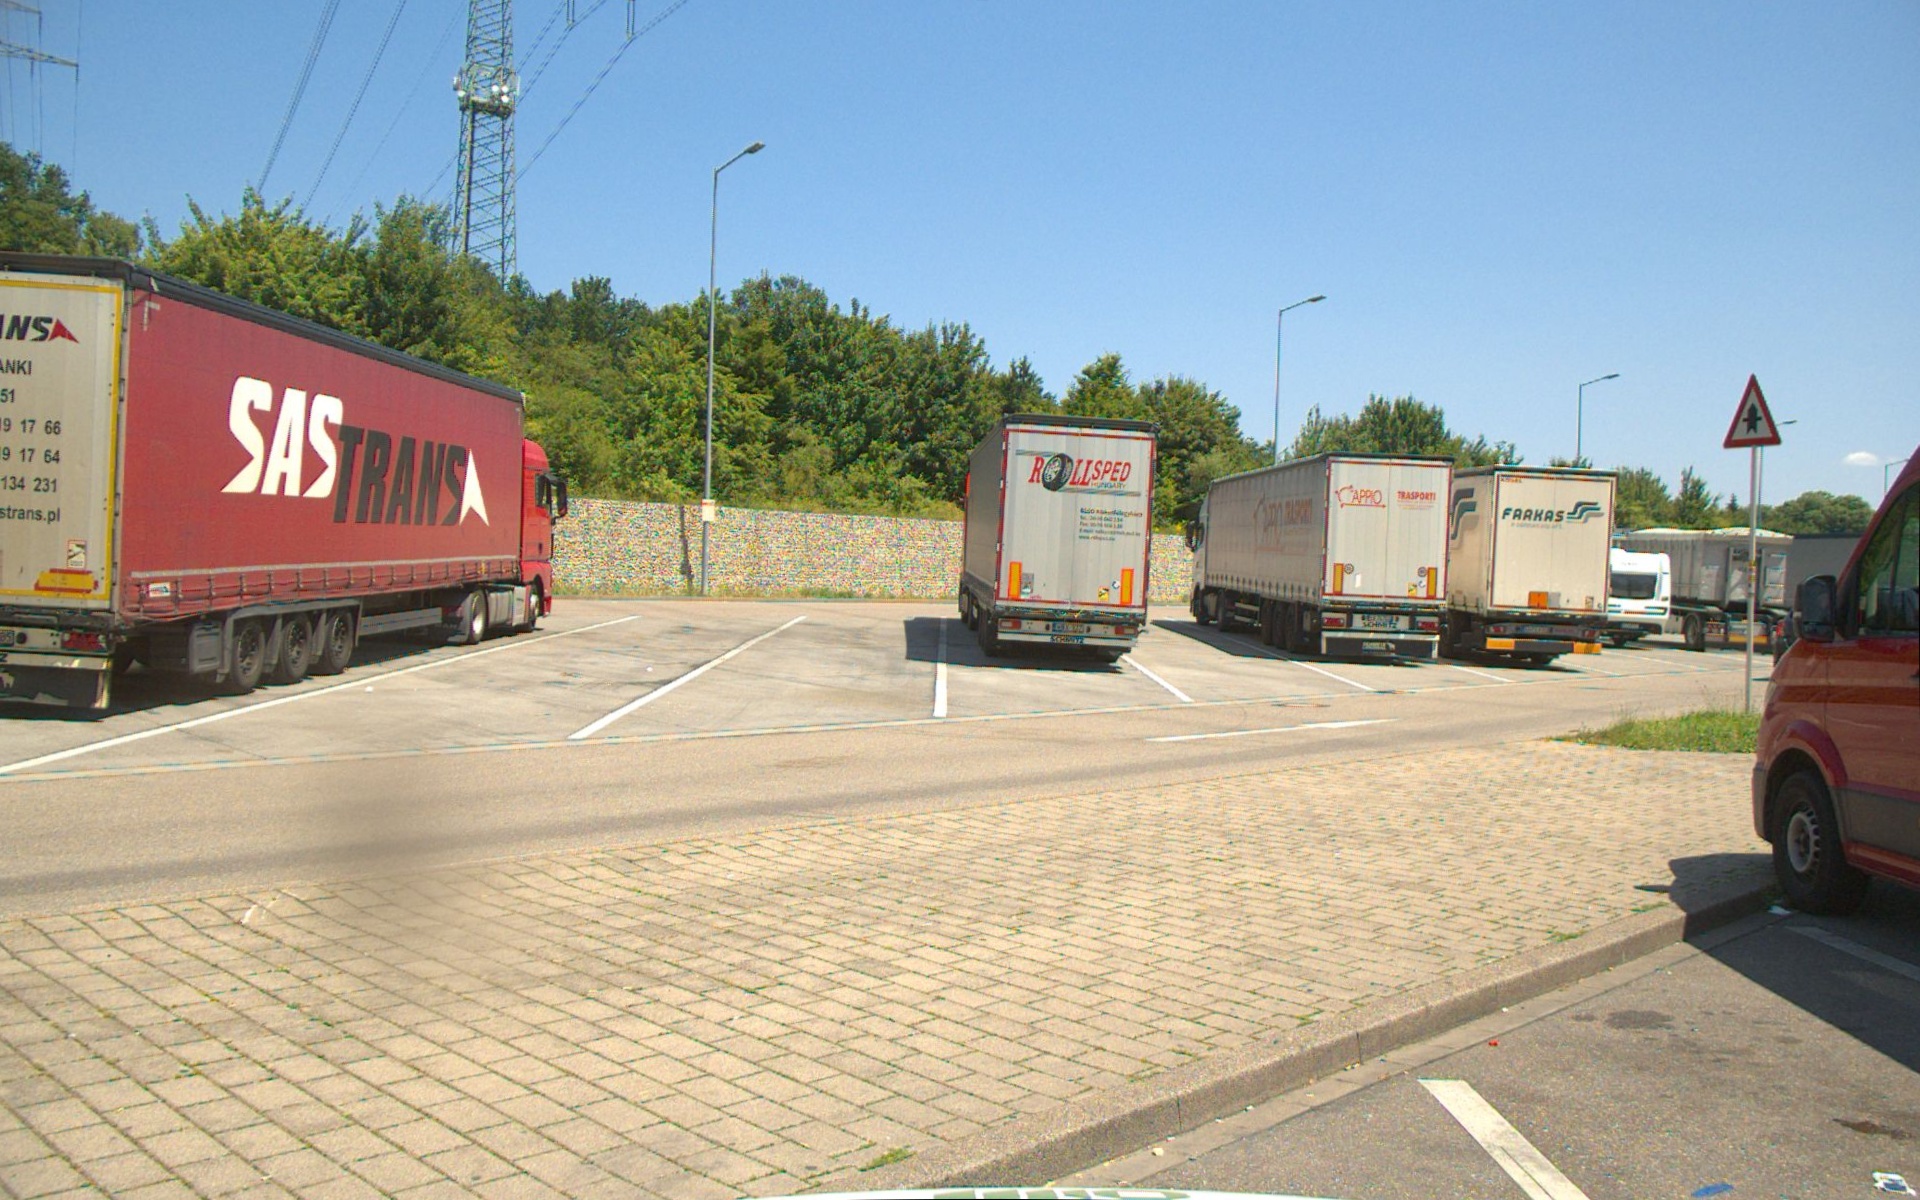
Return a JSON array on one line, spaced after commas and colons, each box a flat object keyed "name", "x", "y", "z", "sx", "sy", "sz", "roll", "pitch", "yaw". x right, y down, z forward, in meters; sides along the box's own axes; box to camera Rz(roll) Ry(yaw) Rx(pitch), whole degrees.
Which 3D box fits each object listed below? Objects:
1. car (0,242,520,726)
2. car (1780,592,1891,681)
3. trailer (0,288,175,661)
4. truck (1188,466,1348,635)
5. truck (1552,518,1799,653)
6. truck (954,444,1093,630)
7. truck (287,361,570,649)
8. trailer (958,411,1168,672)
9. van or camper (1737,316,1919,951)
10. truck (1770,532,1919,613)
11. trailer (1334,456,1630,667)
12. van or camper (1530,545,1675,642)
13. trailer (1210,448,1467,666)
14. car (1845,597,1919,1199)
[{"name": "car", "x": -8.682, "y": -1.279, "z": 20.961, "sx": 2.641, "sy": 4.184, "sz": 12.935, "roll": 2, "pitch": 2, "yaw": 0}, {"name": "car", "x": 17.261, "y": 0.665, "z": 32.656, "sx": 1.806, "sy": 1.589, "sz": 3.944, "roll": 1, "pitch": 1, "yaw": 28}, {"name": "trailer", "x": -12.552, "y": -1.404, "z": 17.163, "sx": 2.756, "sy": 4.341, "sz": 12.940, "roll": 2, "pitch": 2, "yaw": -1}, {"name": "truck", "x": 8.162, "y": -1.384, "z": 44.736, "sx": 2.808, "sy": 4.107, "sz": 6.956, "roll": 2, "pitch": 2, "yaw": -1}, {"name": "truck", "x": 21.744, "y": -0.648, "z": 51.243, "sx": 2.437, "sy": 3.630, "sz": 11.423, "roll": 2, "pitch": 2, "yaw": -1}, {"name": "truck", "x": 1.419, "y": -1.565, "z": 40.751, "sx": 2.809, "sy": 4.107, "sz": 7.026, "roll": 2, "pitch": 2, "yaw": -2}, {"name": "truck", "x": -8.702, "y": -1.528, "z": 27.879, "sx": 2.641, "sy": 4.184, "sz": 6.239, "roll": 2, "pitch": 2, "yaw": 0}, {"name": "trailer", "x": 1.649, "y": -1.238, "z": 33.670, "sx": 2.809, "sy": 4.107, "sz": 14.238, "roll": 2, "pitch": 2, "yaw": -2}, {"name": "van or camper", "x": 4.983, "y": 0.177, "z": 5.560, "sx": 1.954, "sy": 2.700, "sz": 6.482, "roll": 1, "pitch": 1, "yaw": 3}, {"name": "truck", "x": 34.699, "y": -1.067, "z": 63.635, "sx": 2.082, "sy": 2.869, "sz": 9.777, "roll": 1, "pitch": 1, "yaw": -1}, {"name": "trailer", "x": 11.818, "y": -1.022, "z": 39.222, "sx": 2.808, "sy": 4.107, "sz": 12.438, "roll": 2, "pitch": 2, "yaw": -1}, {"name": "van or camper", "x": 18.263, "y": -0.221, "z": 47.347, "sx": 2.061, "sy": 2.606, "sz": 5.372, "roll": 1, "pitch": 1, "yaw": 0}, {"name": "trailer", "x": 8.241, "y": -1.088, "z": 38.105, "sx": 2.808, "sy": 4.107, "sz": 12.438, "roll": 2, "pitch": 2, "yaw": -1}, {"name": "car", "x": 2.534, "y": 0.798, "z": 1.113, "sx": 1.584, "sy": 1.509, "sz": 3.762, "roll": 1, "pitch": 1, "yaw": -6}]
